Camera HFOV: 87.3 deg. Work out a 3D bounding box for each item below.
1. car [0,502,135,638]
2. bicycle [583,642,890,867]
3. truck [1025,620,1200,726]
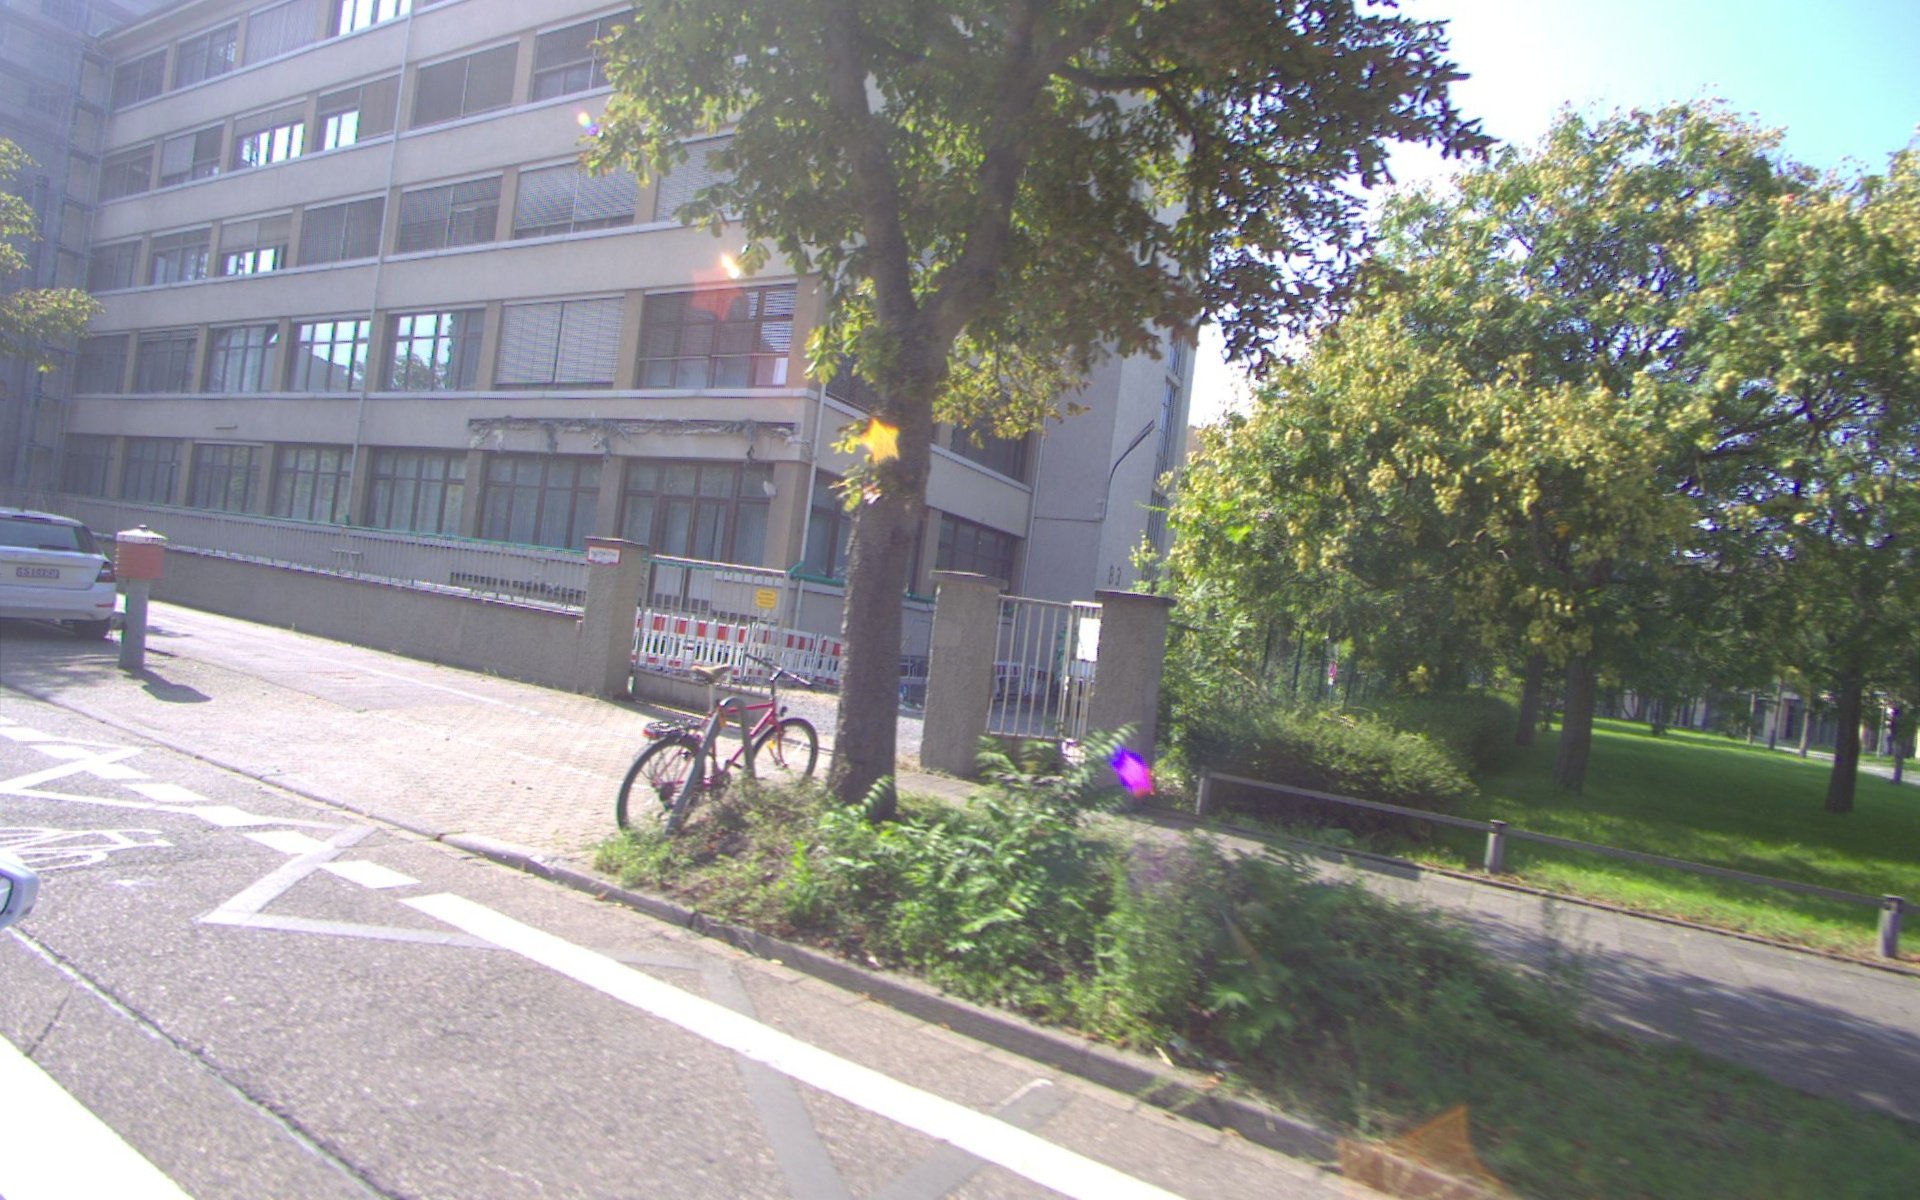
[{"bbox_3d":[-12.124,-0.497,12.355,3.920,1.447,1.643,6,-1,28],"label":"car"},{"bbox_3d":[-1.272,0.853,6.136,0.782,1.077,1.772,6,0,28],"label":"bicycle"},{"bbox_3d":[4.212,1.984,26.480,2.085,2.241,6.580,6,-2,30],"label":"truck"}]
